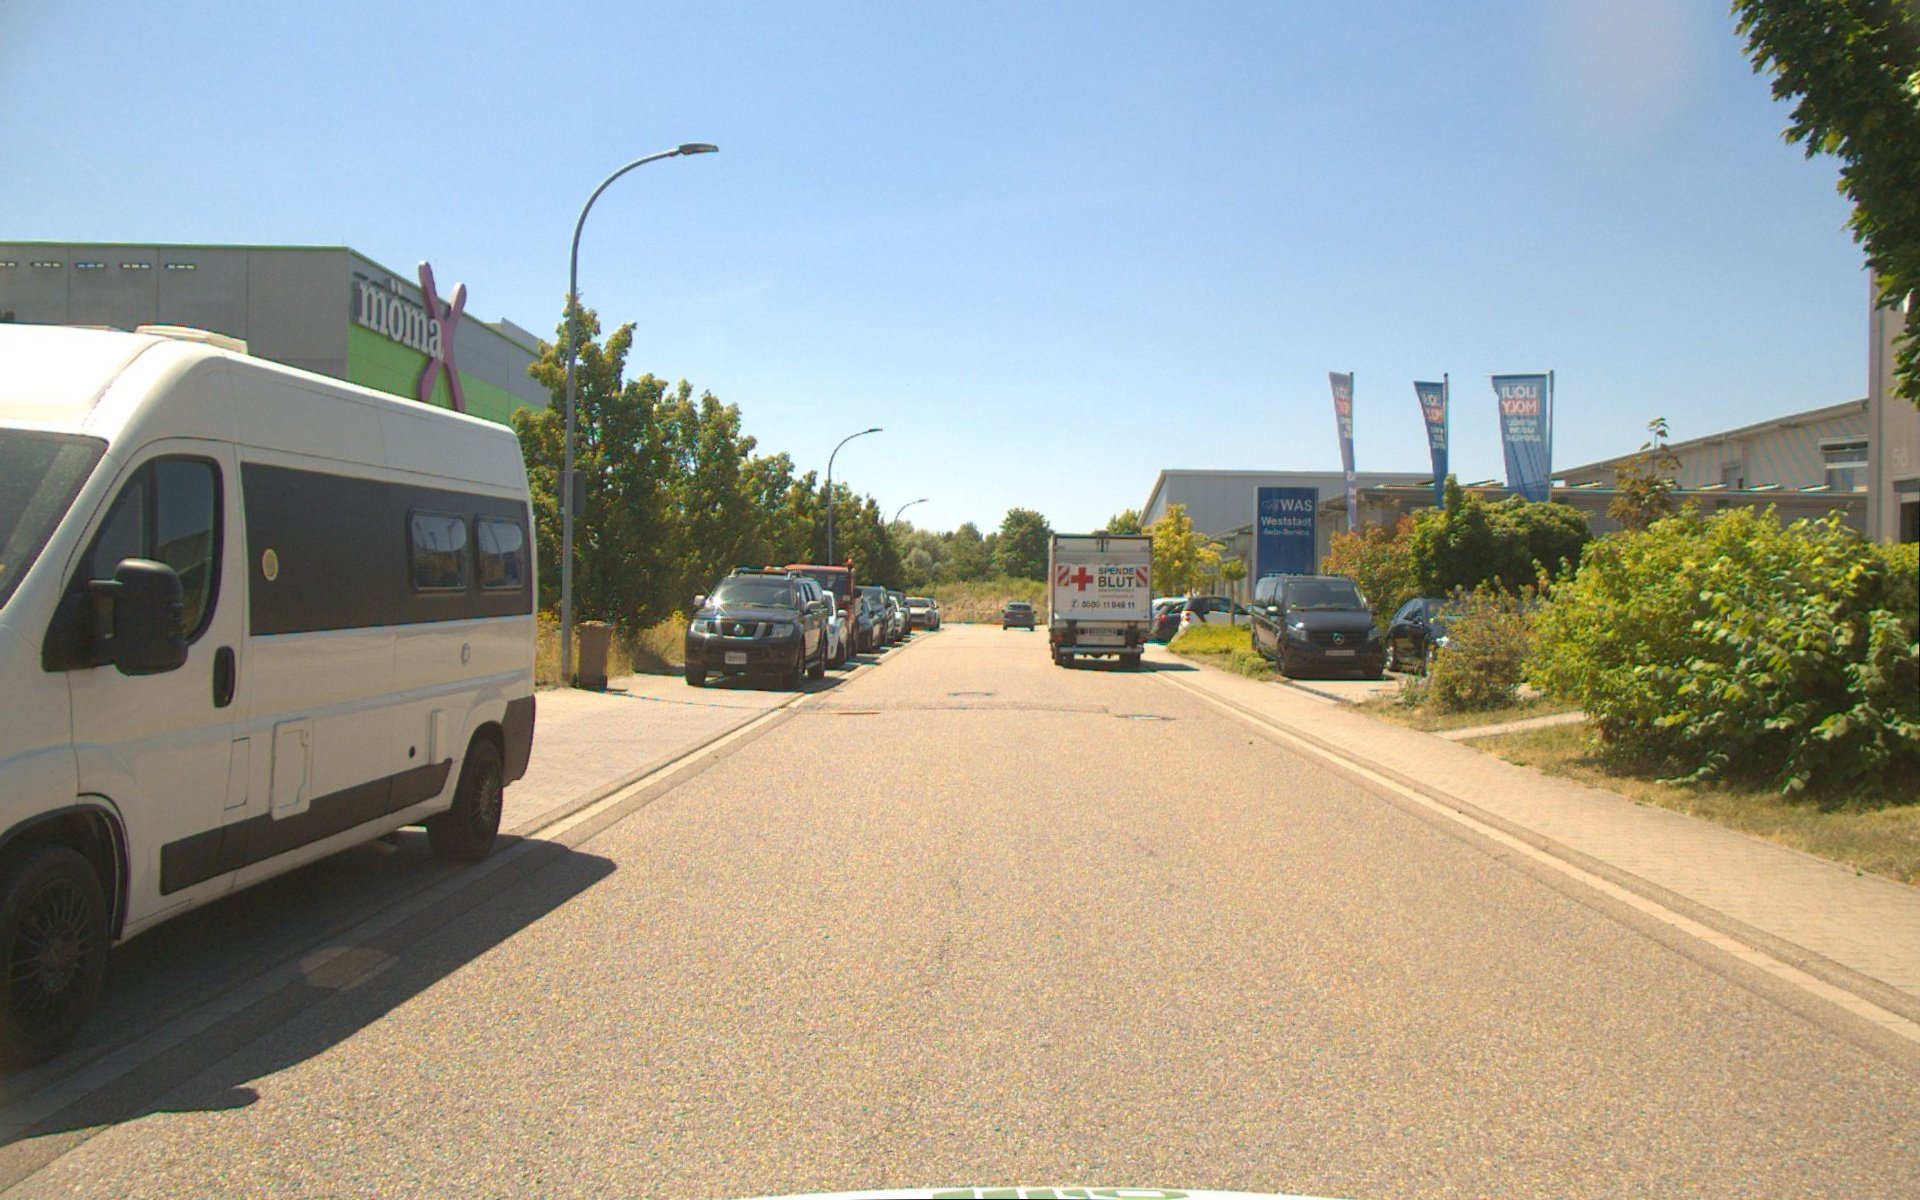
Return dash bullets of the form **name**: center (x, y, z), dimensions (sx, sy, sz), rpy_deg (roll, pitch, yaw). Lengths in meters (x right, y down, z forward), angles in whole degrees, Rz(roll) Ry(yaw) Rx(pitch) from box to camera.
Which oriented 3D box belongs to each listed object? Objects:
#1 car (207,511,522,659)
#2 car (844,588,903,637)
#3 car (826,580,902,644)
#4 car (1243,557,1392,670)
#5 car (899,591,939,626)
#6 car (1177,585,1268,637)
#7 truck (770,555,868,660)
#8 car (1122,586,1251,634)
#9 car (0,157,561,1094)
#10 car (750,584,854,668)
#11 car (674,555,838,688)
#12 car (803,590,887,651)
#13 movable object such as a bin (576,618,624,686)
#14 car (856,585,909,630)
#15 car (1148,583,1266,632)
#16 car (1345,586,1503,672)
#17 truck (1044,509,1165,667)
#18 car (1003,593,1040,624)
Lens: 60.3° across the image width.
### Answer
- **car**: center (-12.828, -0.310, 35.948), dimensions (5.851, 2.977, 2.521), rpy_deg (1, 0, 0)
- **car**: center (-2.874, 0.394, 56.023), dimensions (1.814, 1.545, 4.903), rpy_deg (2, 0, -2)
- **car**: center (-2.867, 0.351, 50.276), dimensions (1.813, 1.789, 4.988), rpy_deg (2, 0, 2)
- **car**: center (6.974, 0.231, 32.813), dimensions (1.952, 2.049, 5.338), rpy_deg (0, 0, 2)
- **car**: center (-2.061, 0.402, 84.866), dimensions (1.873, 1.743, 4.413), rpy_deg (0, 0, 1)
- **car**: center (8.144, 0.344, 51.460), dimensions (2.650, 1.568, 1.413), rpy_deg (0, 0, 2)
- **truck**: center (-3.264, 0.161, 39.125), dimensions (1.813, 2.261, 4.646), rpy_deg (2, 0, 0)
- **car**: center (7.705, 0.345, 56.535), dimensions (4.190, 1.568, 1.914), rpy_deg (0, 0, 2)
- **car**: center (-3.752, 0.044, 7.217), dimensions (2.275, 2.644, 6.087), rpy_deg (2, 0, 2)
- **car**: center (-3.219, 0.503, 34.331), dimensions (1.814, 1.578, 3.766), rpy_deg (2, 0, -1)
- **car**: center (-3.281, 0.312, 27.674), dimensions (1.933, 1.934, 5.403), rpy_deg (2, 0, 1)
- **car**: center (-3.043, 0.515, 44.555), dimensions (1.813, 1.468, 4.754), rpy_deg (2, 0, 1)
- **movable object such as a bin**: center (-5.252, 0.755, 24.170), dimensions (0.536, 0.966, 0.683), rpy_deg (1, 0, -1)
- **car**: center (-2.862, 0.263, 61.943), dimensions (1.814, 1.545, 5.165), rpy_deg (2, 0, -2)
- **car**: center (8.014, 0.241, 53.964), dimensions (3.615, 1.568, 1.914), rpy_deg (0, 0, 2)
- **car**: center (9.055, 0.531, 32.668), dimensions (1.952, 1.563, 4.591), rpy_deg (0, 0, 2)
- **truck**: center (3.242, -0.278, 38.606), dimensions (2.406, 3.261, 6.885), rpy_deg (2, 0, 2)
- **car**: center (3.499, 0.487, 95.222), dimensions (1.874, 1.743, 4.030), rpy_deg (1, 0, -2)
